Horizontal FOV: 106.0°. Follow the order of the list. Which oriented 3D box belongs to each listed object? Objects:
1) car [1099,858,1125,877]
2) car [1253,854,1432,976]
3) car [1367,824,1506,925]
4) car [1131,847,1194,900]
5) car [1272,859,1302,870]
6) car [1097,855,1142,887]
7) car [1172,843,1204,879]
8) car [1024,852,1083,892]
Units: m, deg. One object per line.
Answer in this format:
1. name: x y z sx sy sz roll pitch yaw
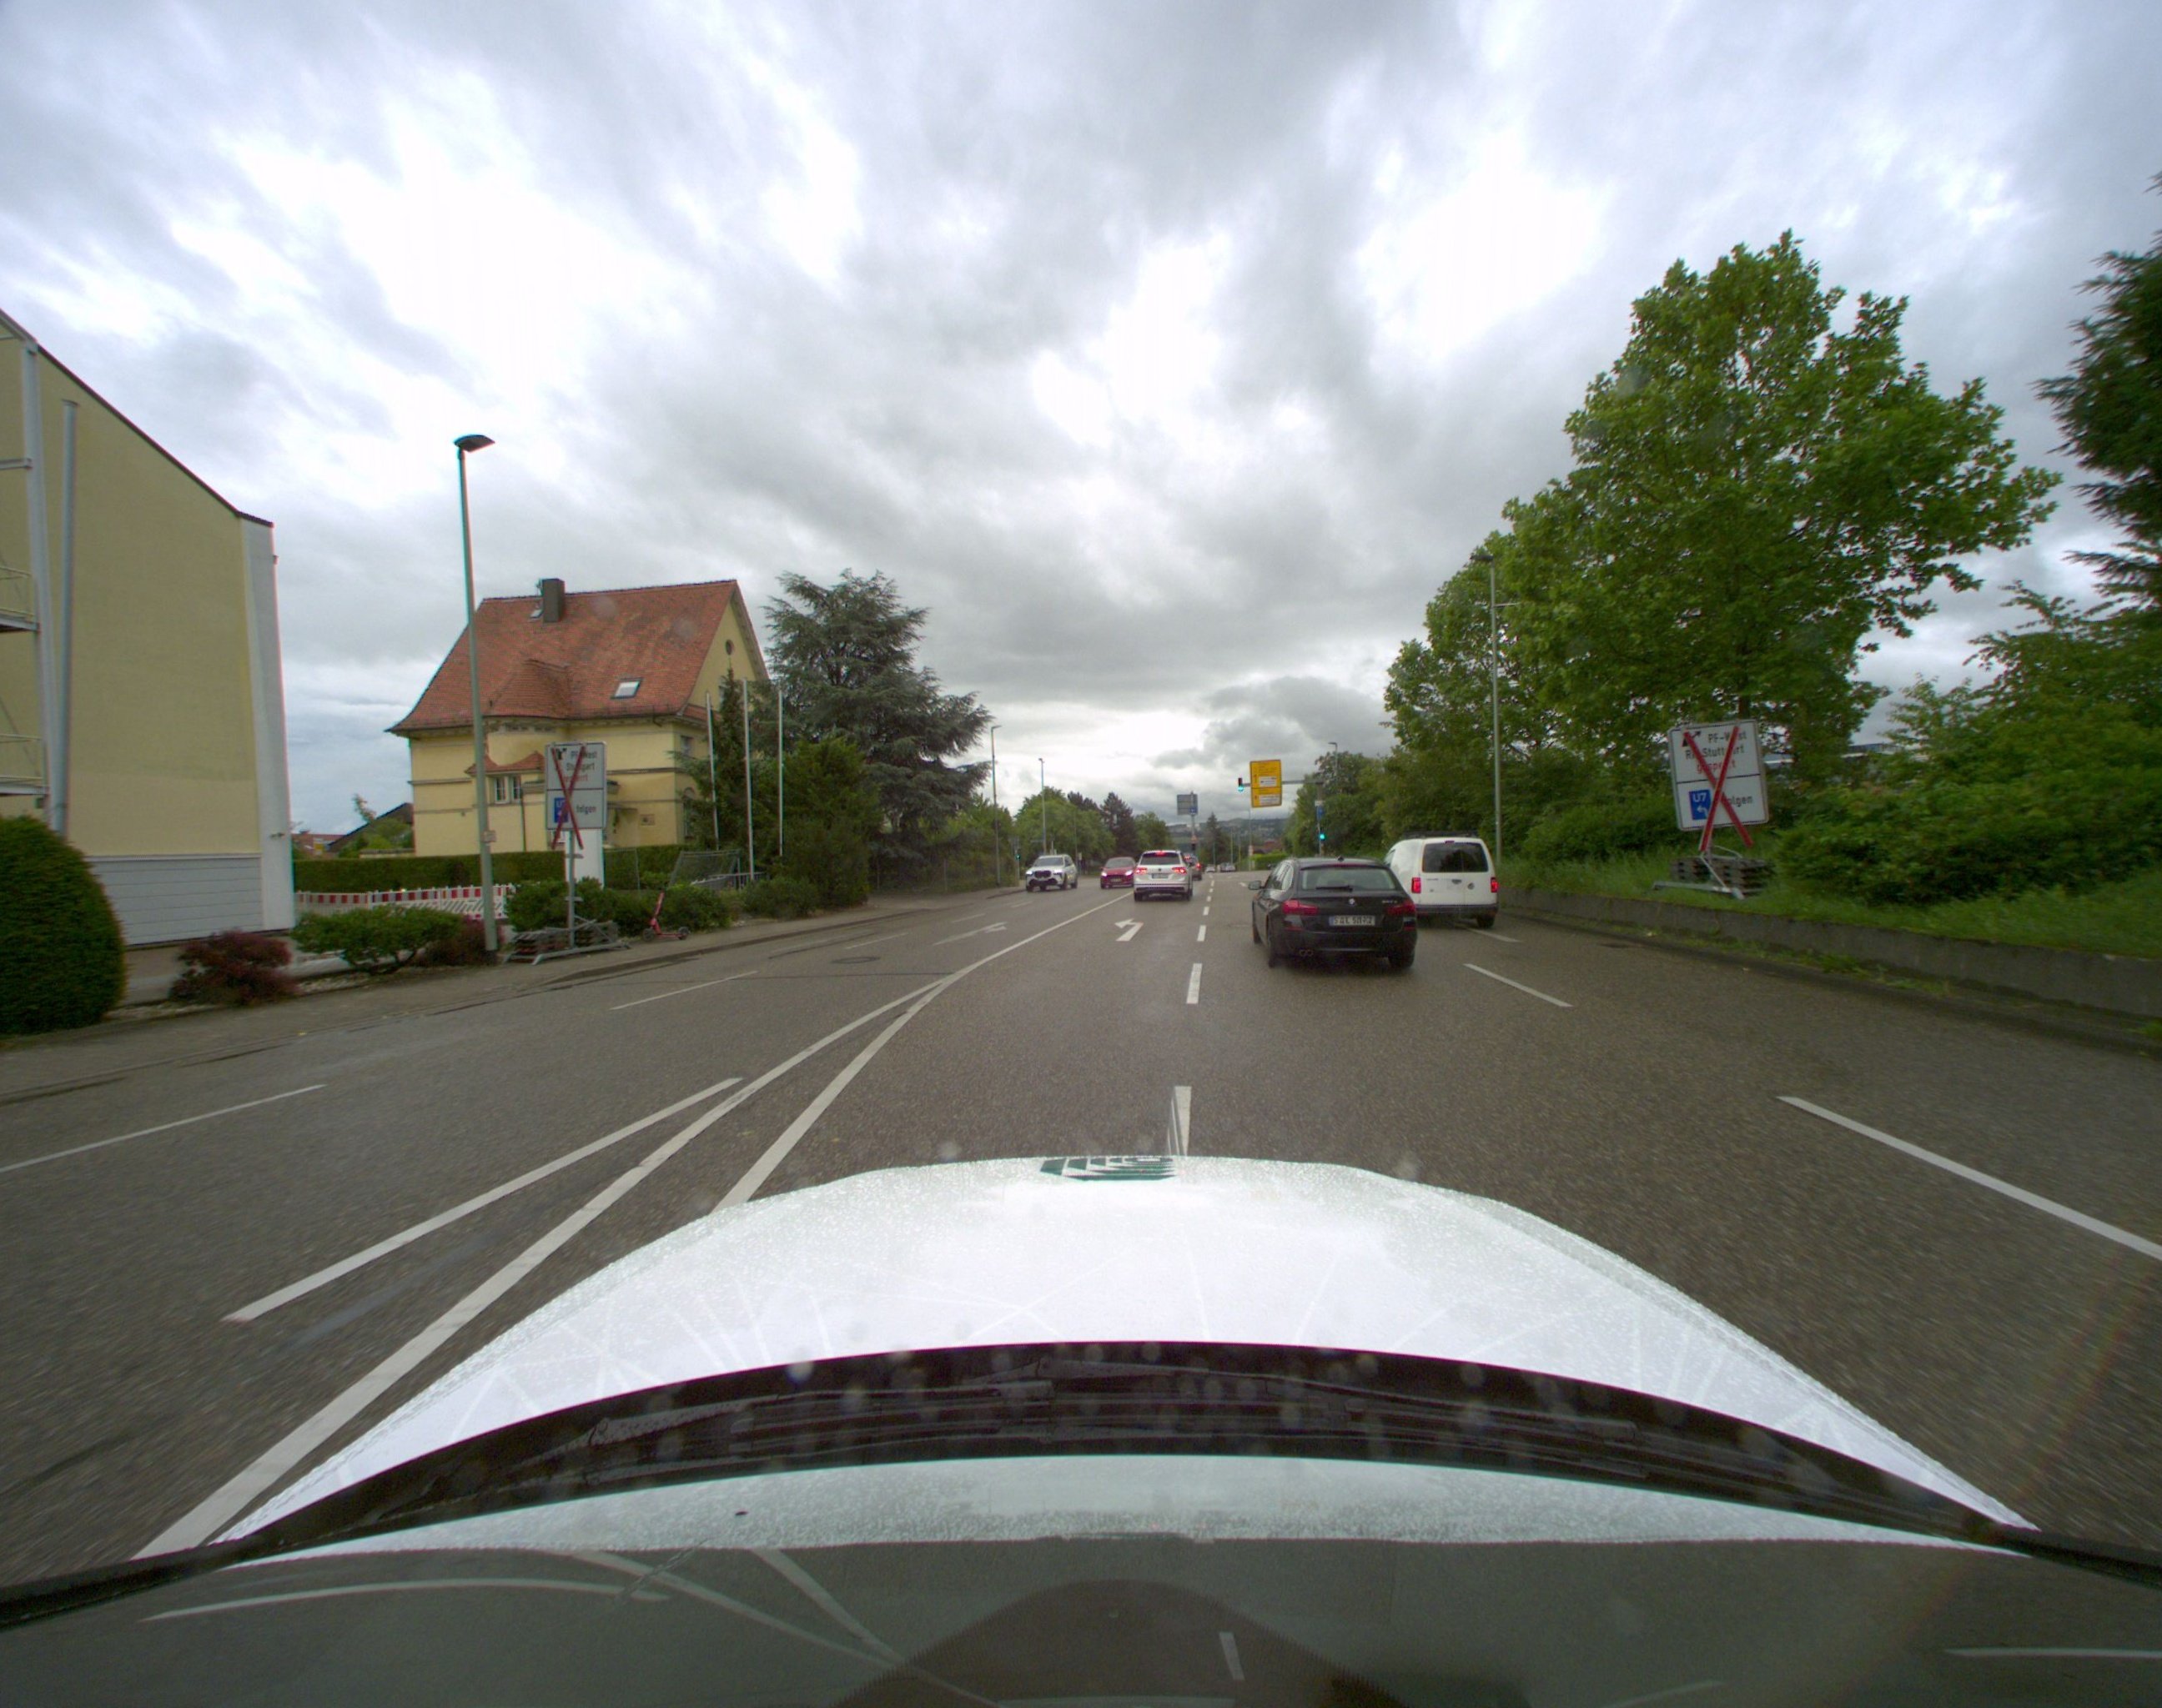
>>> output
1. car: 2.592 1.111 67.454 1.622 1.456 3.711 -4 -1 9
2. car: 3.529 0.725 11.715 1.887 1.441 4.010 0 0 9
3. car: 7.385 0.327 17.312 1.754 1.877 3.815 -1 2 8
4. car: 2.845 0.621 27.800 1.857 1.673 4.010 -1 0 9
5. car: 27.880 1.428 110.441 3.959 1.376 1.591 -1 0 12
6. car: 1.967 0.798 40.096 1.671 1.419 3.851 -4 -1 9
7. car: 6.631 0.397 50.095 1.800 2.088 3.860 -1 0 9
8. car: -1.336 0.873 42.059 1.906 1.763 5.157 -4 -1 9
